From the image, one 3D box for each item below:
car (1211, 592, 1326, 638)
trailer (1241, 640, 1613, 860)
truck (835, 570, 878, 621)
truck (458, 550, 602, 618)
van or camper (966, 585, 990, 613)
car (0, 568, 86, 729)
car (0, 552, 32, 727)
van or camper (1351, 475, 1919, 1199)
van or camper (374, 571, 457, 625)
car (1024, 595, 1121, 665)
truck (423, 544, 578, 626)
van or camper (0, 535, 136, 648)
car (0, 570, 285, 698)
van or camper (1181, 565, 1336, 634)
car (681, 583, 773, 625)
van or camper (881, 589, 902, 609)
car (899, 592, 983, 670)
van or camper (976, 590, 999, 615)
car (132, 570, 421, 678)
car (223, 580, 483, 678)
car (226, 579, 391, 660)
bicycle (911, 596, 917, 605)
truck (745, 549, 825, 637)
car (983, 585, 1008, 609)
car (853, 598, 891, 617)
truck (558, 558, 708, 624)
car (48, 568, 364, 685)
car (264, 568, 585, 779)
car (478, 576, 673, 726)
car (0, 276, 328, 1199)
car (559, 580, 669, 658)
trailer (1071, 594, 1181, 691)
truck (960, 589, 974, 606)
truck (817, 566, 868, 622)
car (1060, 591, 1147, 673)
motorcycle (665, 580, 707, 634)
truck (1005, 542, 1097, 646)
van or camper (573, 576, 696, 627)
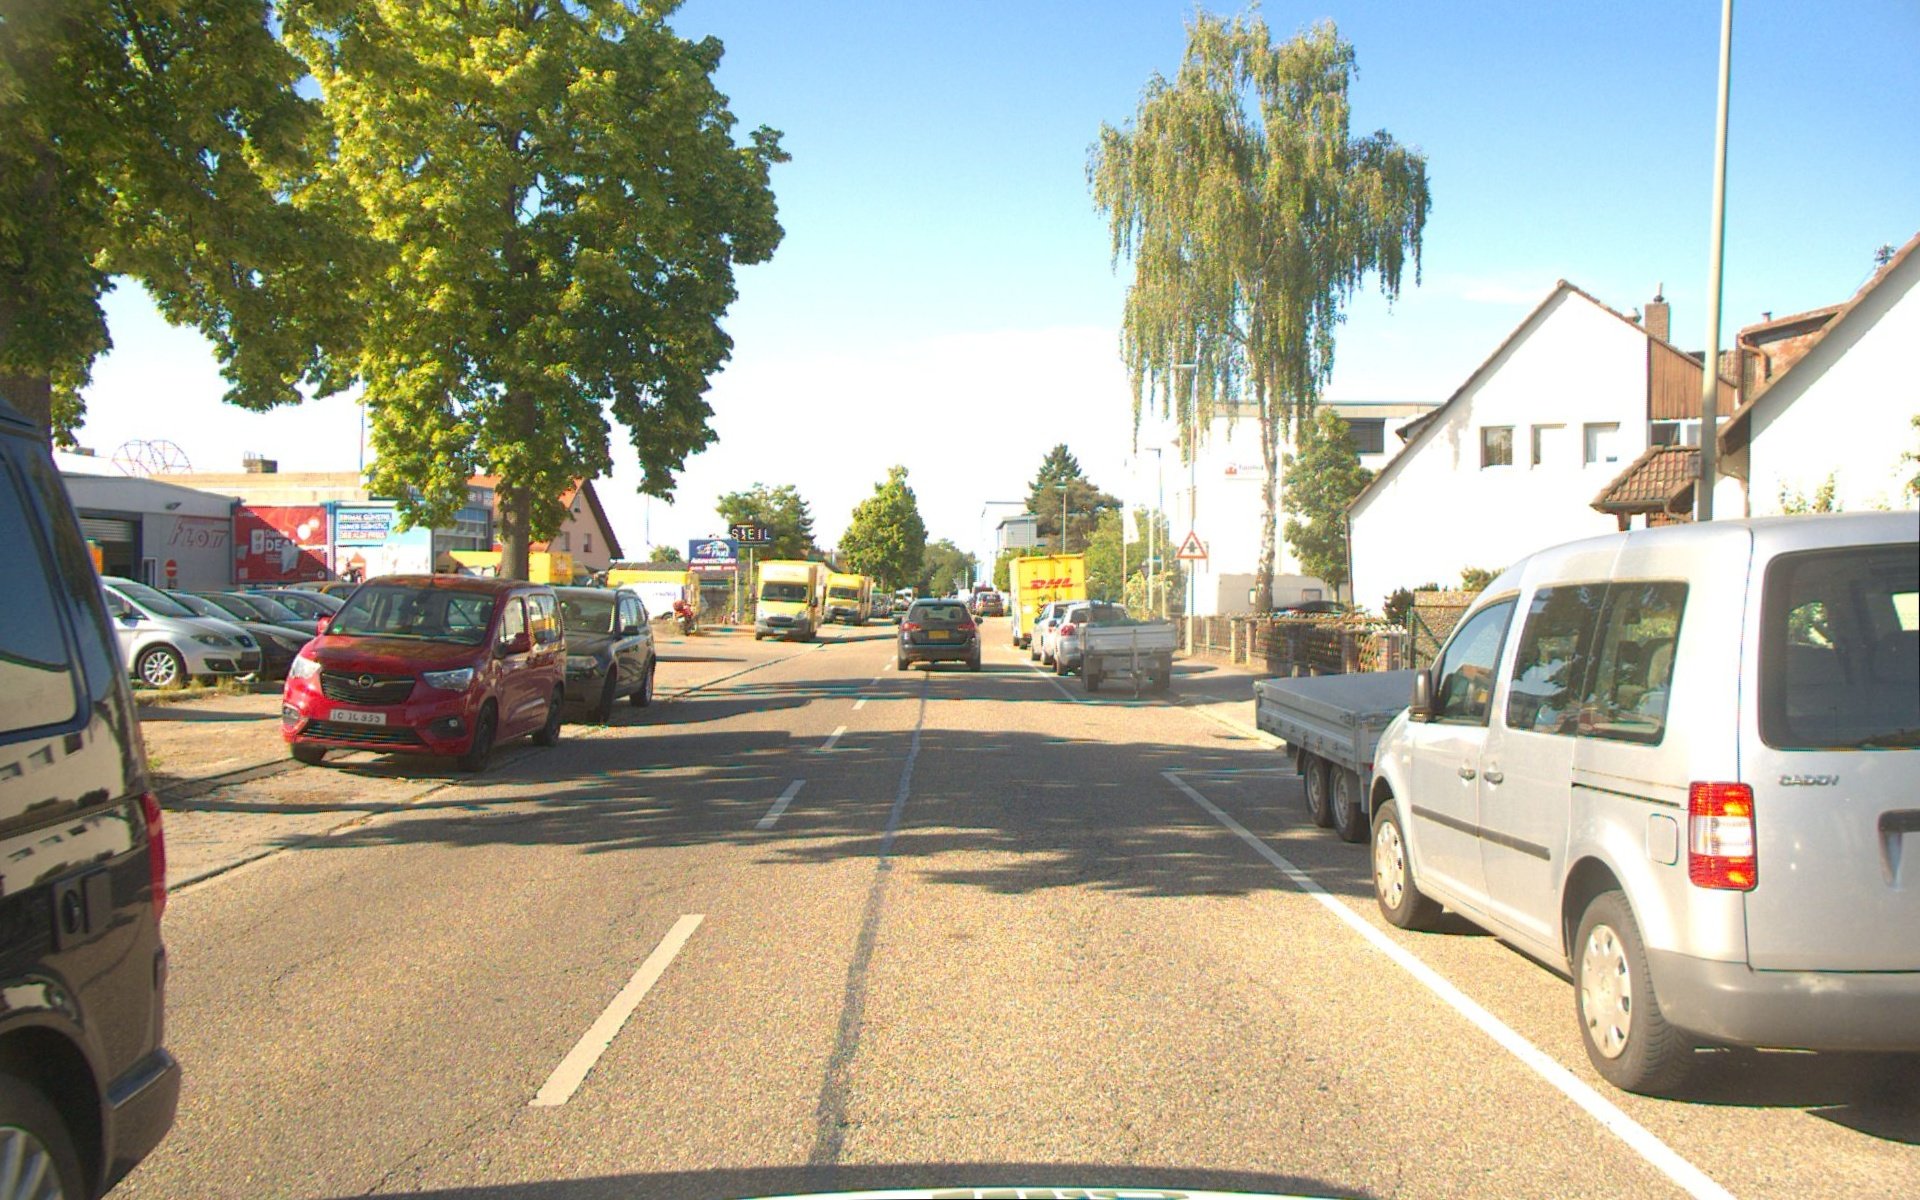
[{"bbox_3d":[11.480,0.540,61.539,3.935,1.646,1.797,0,0,-24],"label":"car"},{"bbox_3d":[3.128,0.954,11.677,1.595,1.238,3.143,0,0,-3],"label":"trailer"},{"bbox_3d":[-6.415,-0.293,103.162,2.148,2.952,6.439,2,0,1],"label":"truck"},{"bbox_3d":[-19.435,-0.713,74.774,5.961,3.024,2.175,0,0,12],"label":"truck"},{"bbox_3d":[1.535,-0.118,143.147,1.953,2.351,4.000,0,0,0],"label":"van or camper"},{"bbox_3d":[-12.479,0.534,18.843,4.159,1.759,1.767,0,0,5],"label":"car"},{"bbox_3d":[-11.774,0.405,16.441,4.159,1.759,1.767,0,0,5],"label":"car"},{"bbox_3d":[2.885,0.631,6.504,1.683,1.924,4.179,1,0,0],"label":"van or camper"},{"bbox_3d":[-21.167,-0.070,64.466,1.822,2.049,4.001,0,0,1],"label":"van or camper"},{"bbox_3d":[2.643,0.673,39.914,1.748,1.569,4.534,0,0,-4],"label":"car"},{"bbox_3d":[-19.010,-0.625,68.510,5.547,3.174,2.525,2,0,11],"label":"truck"},{"bbox_3d":[-24.276,-0.216,42.651,2.118,2.763,6.275,0,0,10],"label":"van or camper"},{"bbox_3d":[-12.147,0.468,23.771,4.161,1.759,1.766,0,0,1],"label":"car"},{"bbox_3d":[11.657,-0.024,64.488,5.741,2.586,2.271,0,0,-26],"label":"van or camper"},{"bbox_3d":[-11.518,0.202,81.815,4.157,2.049,1.870,0,0,8],"label":"car"},{"bbox_3d":[-8.404,-0.077,202.317,2.277,2.403,6.522,0,0,-4],"label":"van or camper"},{"bbox_3d":[-0.365,0.613,35.168,1.676,1.559,3.688,0,0,1],"label":"car"},{"bbox_3d":[2.277,0.177,138.040,1.880,2.055,4.079,0,0,0],"label":"van or camper"},{"bbox_3d":[-11.519,0.390,28.014,4.159,1.759,1.767,0,0,5],"label":"car"},{"bbox_3d":[-11.189,0.519,30.619,4.159,1.759,1.767,0,0,5],"label":"car"},{"bbox_3d":[-15.562,0.416,39.776,1.738,1.778,4.168,0,2,10],"label":"car"},{"bbox_3d":[-6.630,0.082,237.920,0.812,1.173,2.939,0,0,-2],"label":"bicycle"},{"bbox_3d":[-6.496,-0.254,62.188,2.354,3.035,7.243,2,0,-2],"label":"truck"},{"bbox_3d":[2.811,-0.261,132.789,1.880,1.857,4.079,0,0,0],"label":"car"},{"bbox_3d":[-7.426,0.597,139.410,1.852,1.511,4.013,-2,1,-24],"label":"car"},{"bbox_3d":[-13.909,-0.381,70.491,5.795,2.612,2.226,2,0,11],"label":"truck"},{"bbox_3d":[-11.734,0.396,25.886,4.159,1.759,1.767,0,0,5],"label":"car"},{"bbox_3d":[-5.159,0.633,16.597,1.767,1.783,4.341,2,0,0],"label":"car"},{"bbox_3d":[-5.182,0.625,22.872,1.640,1.802,4.554,2,0,-1],"label":"car"},{"bbox_3d":[-2.519,0.516,1.696,1.855,2.067,4.817,-1,0,0],"label":"car"},{"bbox_3d":[-8.549,0.456,41.206,1.824,1.744,4.275,3,0,-1],"label":"car"},{"bbox_3d":[2.799,0.682,28.407,1.594,1.565,3.198,0,0,0],"label":"trailer"},{"bbox_3d":[1.002,-0.337,237.602,1.953,2.327,6.954,0,0,0],"label":"truck"},{"bbox_3d":[-6.606,-0.328,93.879,2.354,3.035,6.373,2,0,0],"label":"truck"},{"bbox_3d":[2.931,0.621,34.420,1.639,1.569,4.045,1,0,3],"label":"car"},{"bbox_3d":[-10.258,0.245,61.990,0.765,1.905,3.042,3,1,4],"label":"motorcycle"},{"bbox_3d":[2.800,-0.180,52.499,2.354,2.988,7.015,-2,0,-1],"label":"truck"},{"bbox_3d":[-13.262,0.051,67.574,4.447,2.049,2.252,0,0,6],"label":"van or camper"}]
